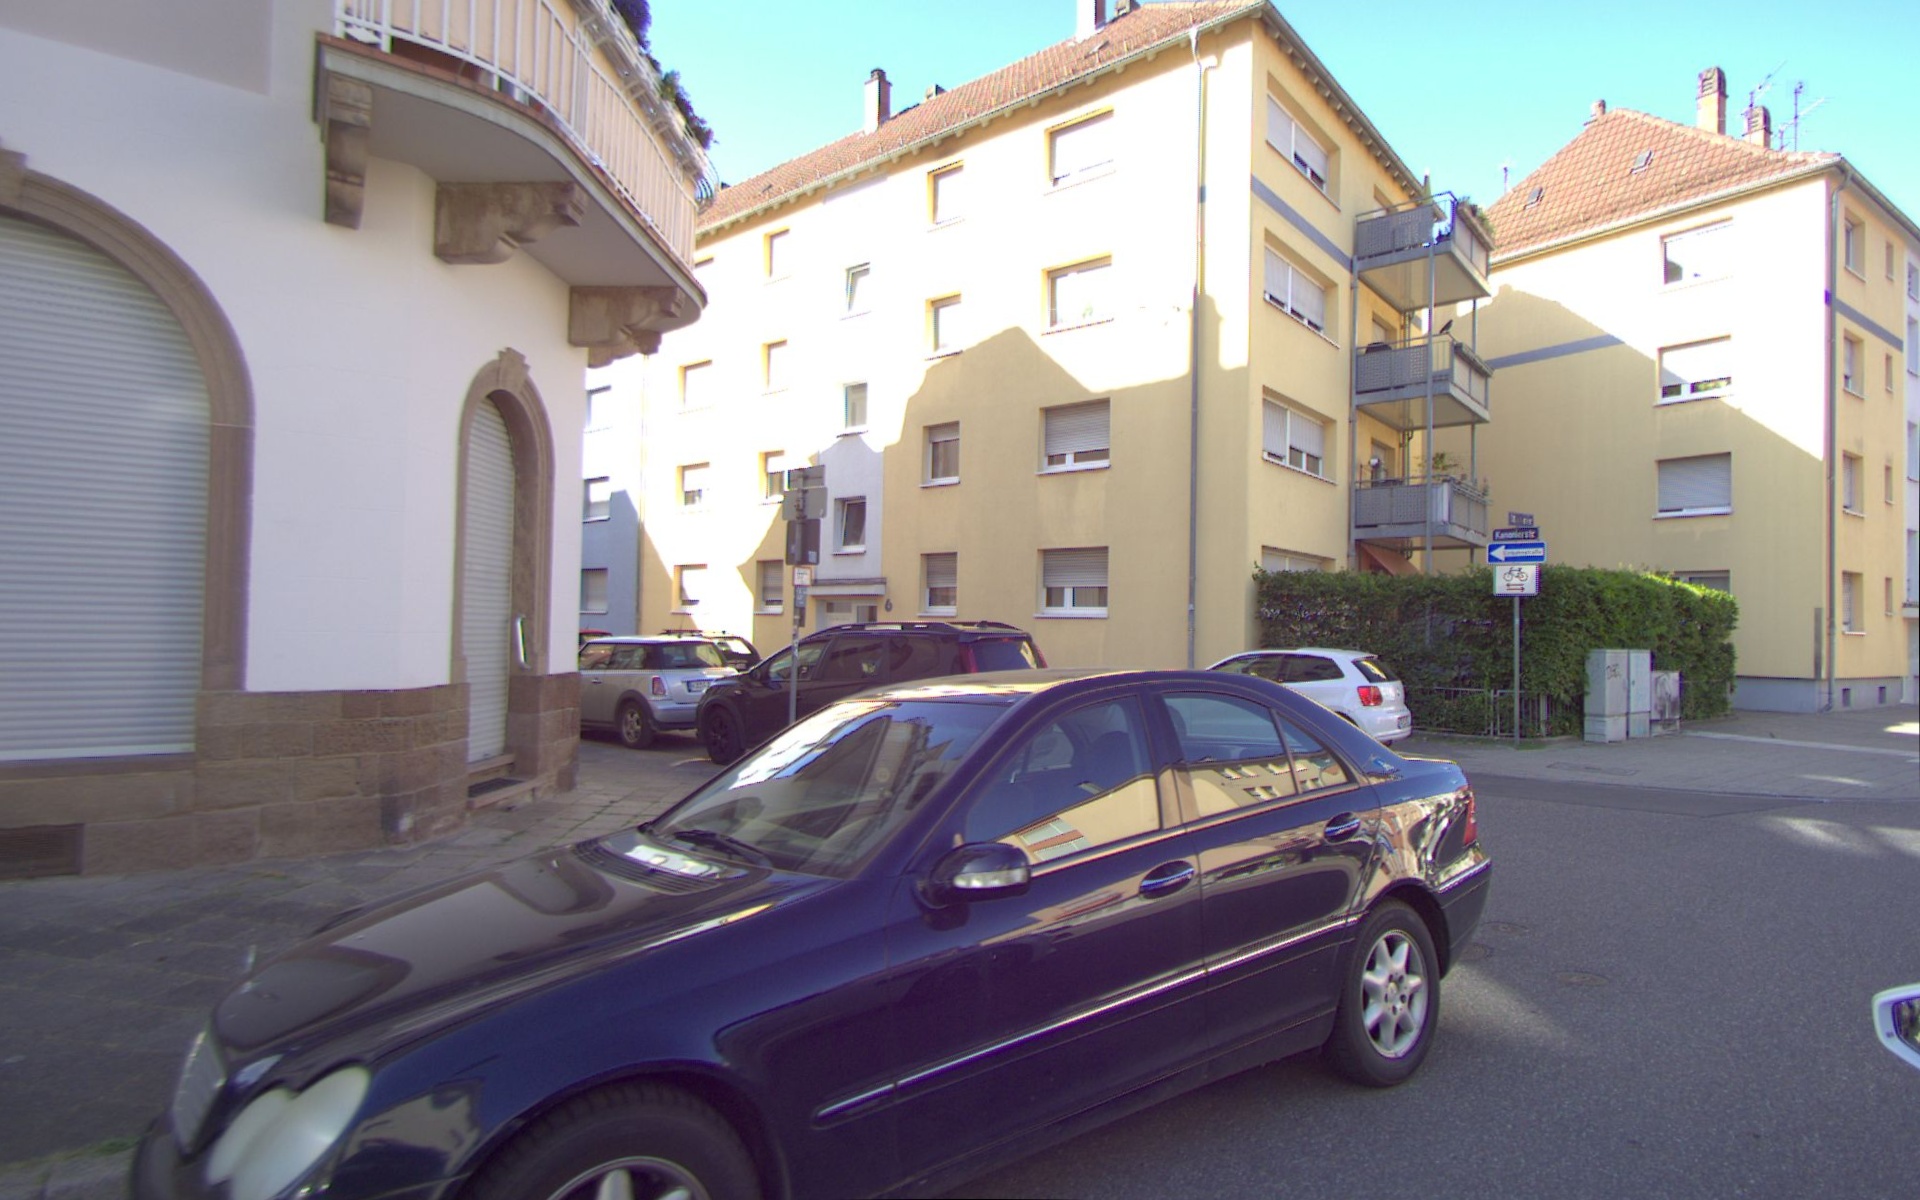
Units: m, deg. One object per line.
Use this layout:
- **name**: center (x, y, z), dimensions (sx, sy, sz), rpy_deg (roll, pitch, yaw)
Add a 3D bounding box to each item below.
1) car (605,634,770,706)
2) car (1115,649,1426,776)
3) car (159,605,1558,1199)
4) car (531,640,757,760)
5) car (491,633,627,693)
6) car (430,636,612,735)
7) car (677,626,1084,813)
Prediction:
- **car**: center (-6.220, 1.518, 22.748), dimensions (3.930, 1.460, 1.588), rpy_deg (-1, -3, 39)
- **car**: center (4.318, 1.479, 14.247), dimensions (3.930, 1.498, 1.588), rpy_deg (-1, -3, 39)
- **car**: center (0.120, 0.904, 3.378), dimensions (4.335, 1.433, 1.692), rpy_deg (3, -7, -37)
- **car**: center (-4.423, 1.294, 13.927), dimensions (3.125, 1.418, 1.587), rpy_deg (-1, -3, 41)
- **car**: center (-10.654, 1.617, 26.574), dimensions (3.930, 1.460, 1.588), rpy_deg (-1, -3, 39)
- **car**: center (-7.330, 1.348, 16.684), dimensions (3.125, 1.441, 1.587), rpy_deg (-1, -3, 41)
- **car**: center (-1.003, 1.129, 10.998), dimensions (4.409, 1.636, 1.771), rpy_deg (-1, -3, 38)
